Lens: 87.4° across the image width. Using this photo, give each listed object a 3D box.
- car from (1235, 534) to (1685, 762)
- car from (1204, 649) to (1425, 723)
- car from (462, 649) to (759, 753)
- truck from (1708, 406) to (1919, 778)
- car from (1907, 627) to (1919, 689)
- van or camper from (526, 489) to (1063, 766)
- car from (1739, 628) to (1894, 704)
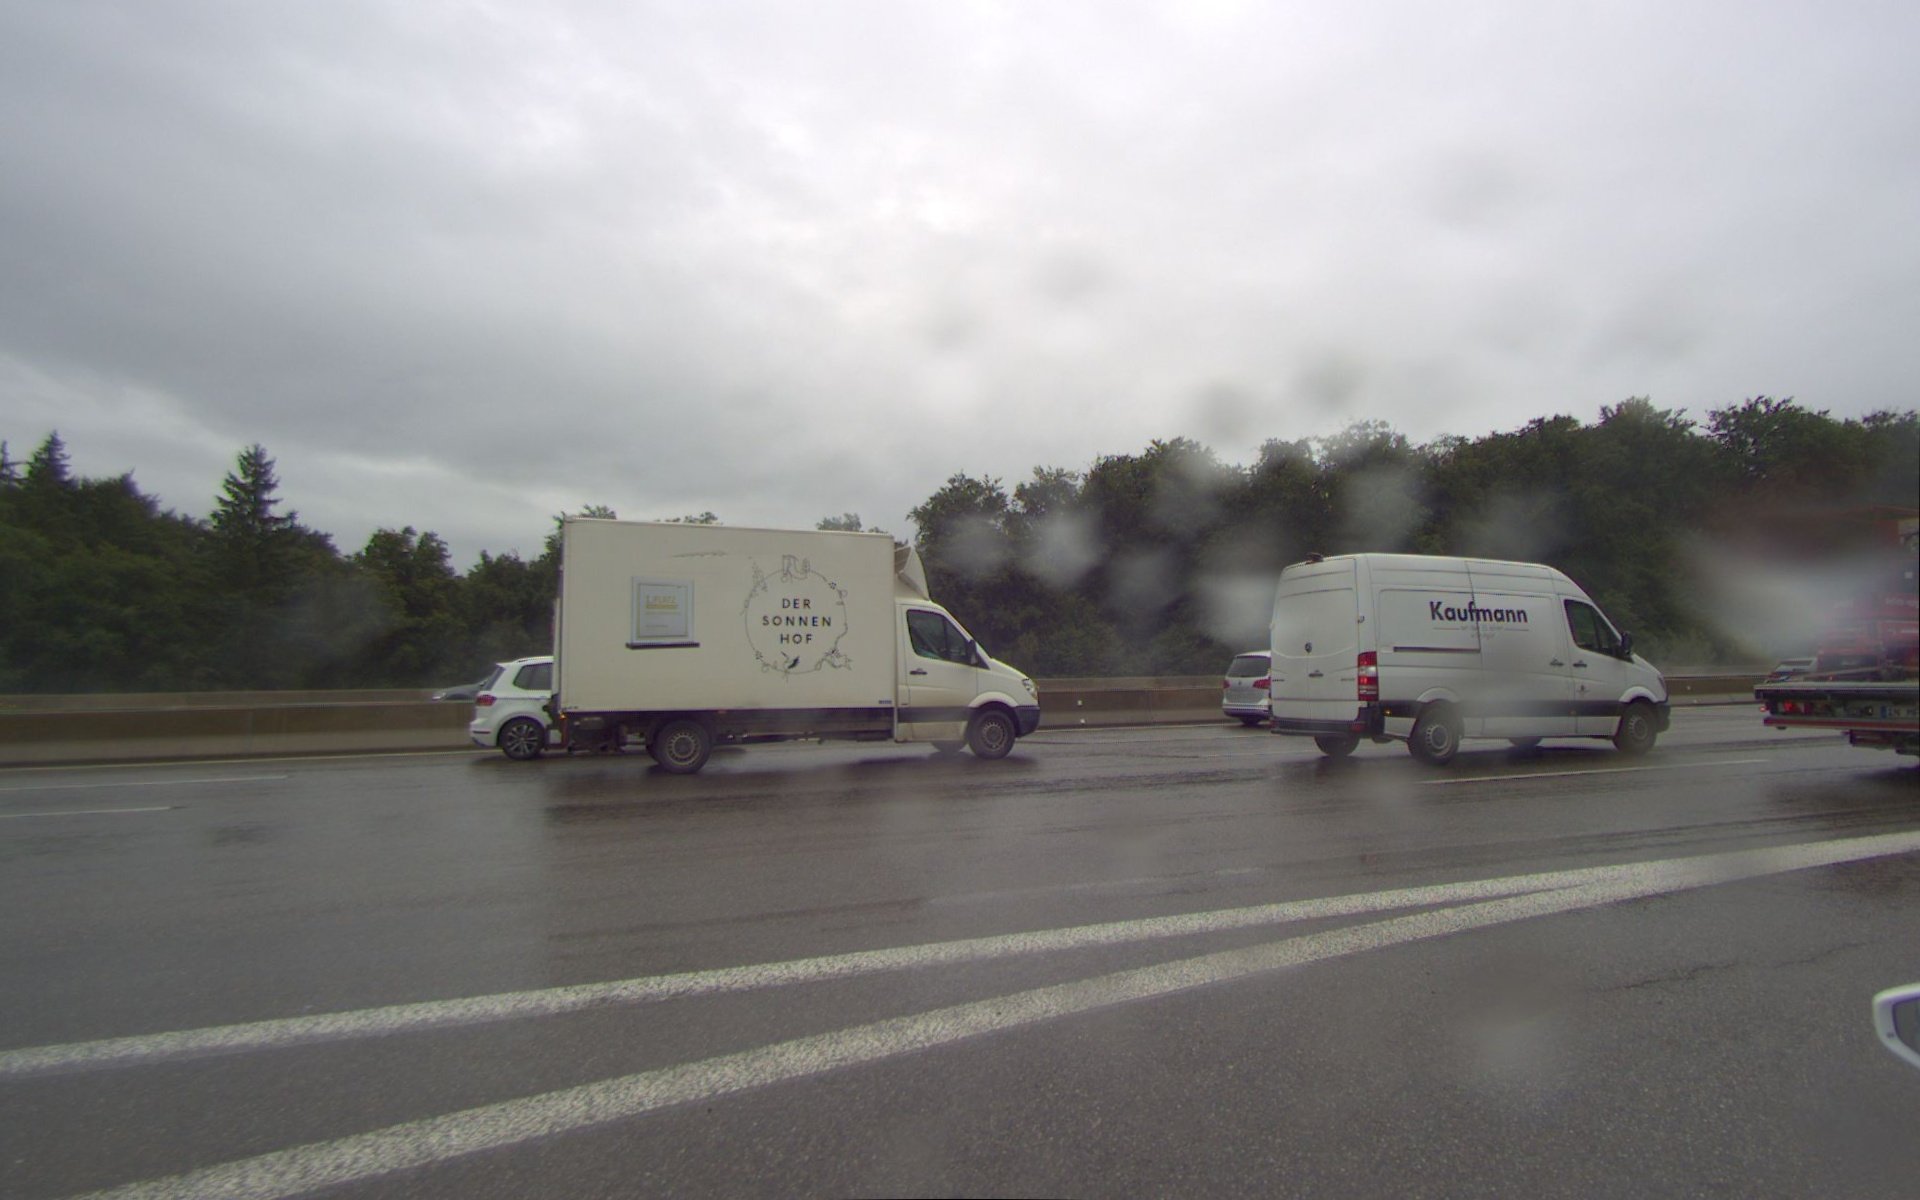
[{"bbox_3d":[6.862,0.685,13.830,5.756,2.663,2.213,1,-3,-21],"label":"car"},{"bbox_3d":[7.942,1.887,22.540,4.561,1.542,1.864,1,-4,-21],"label":"car"},{"bbox_3d":[-5.612,1.592,16.448,4.348,1.542,1.613,1,-3,-20],"label":"car"},{"bbox_3d":[14.597,0.064,12.443,11.625,3.635,2.827,1,-4,-22],"label":"truck"},{"bbox_3d":[27.387,1.479,26.270,4.738,1.614,1.990,1,-4,-22],"label":"car"},{"bbox_3d":[-2.242,0.472,14.290,7.025,3.245,2.576,1,-3,-21],"label":"van or camper"},{"bbox_3d":[25.317,1.949,29.701,3.941,2.040,1.795,3,-1,-21],"label":"car"}]
